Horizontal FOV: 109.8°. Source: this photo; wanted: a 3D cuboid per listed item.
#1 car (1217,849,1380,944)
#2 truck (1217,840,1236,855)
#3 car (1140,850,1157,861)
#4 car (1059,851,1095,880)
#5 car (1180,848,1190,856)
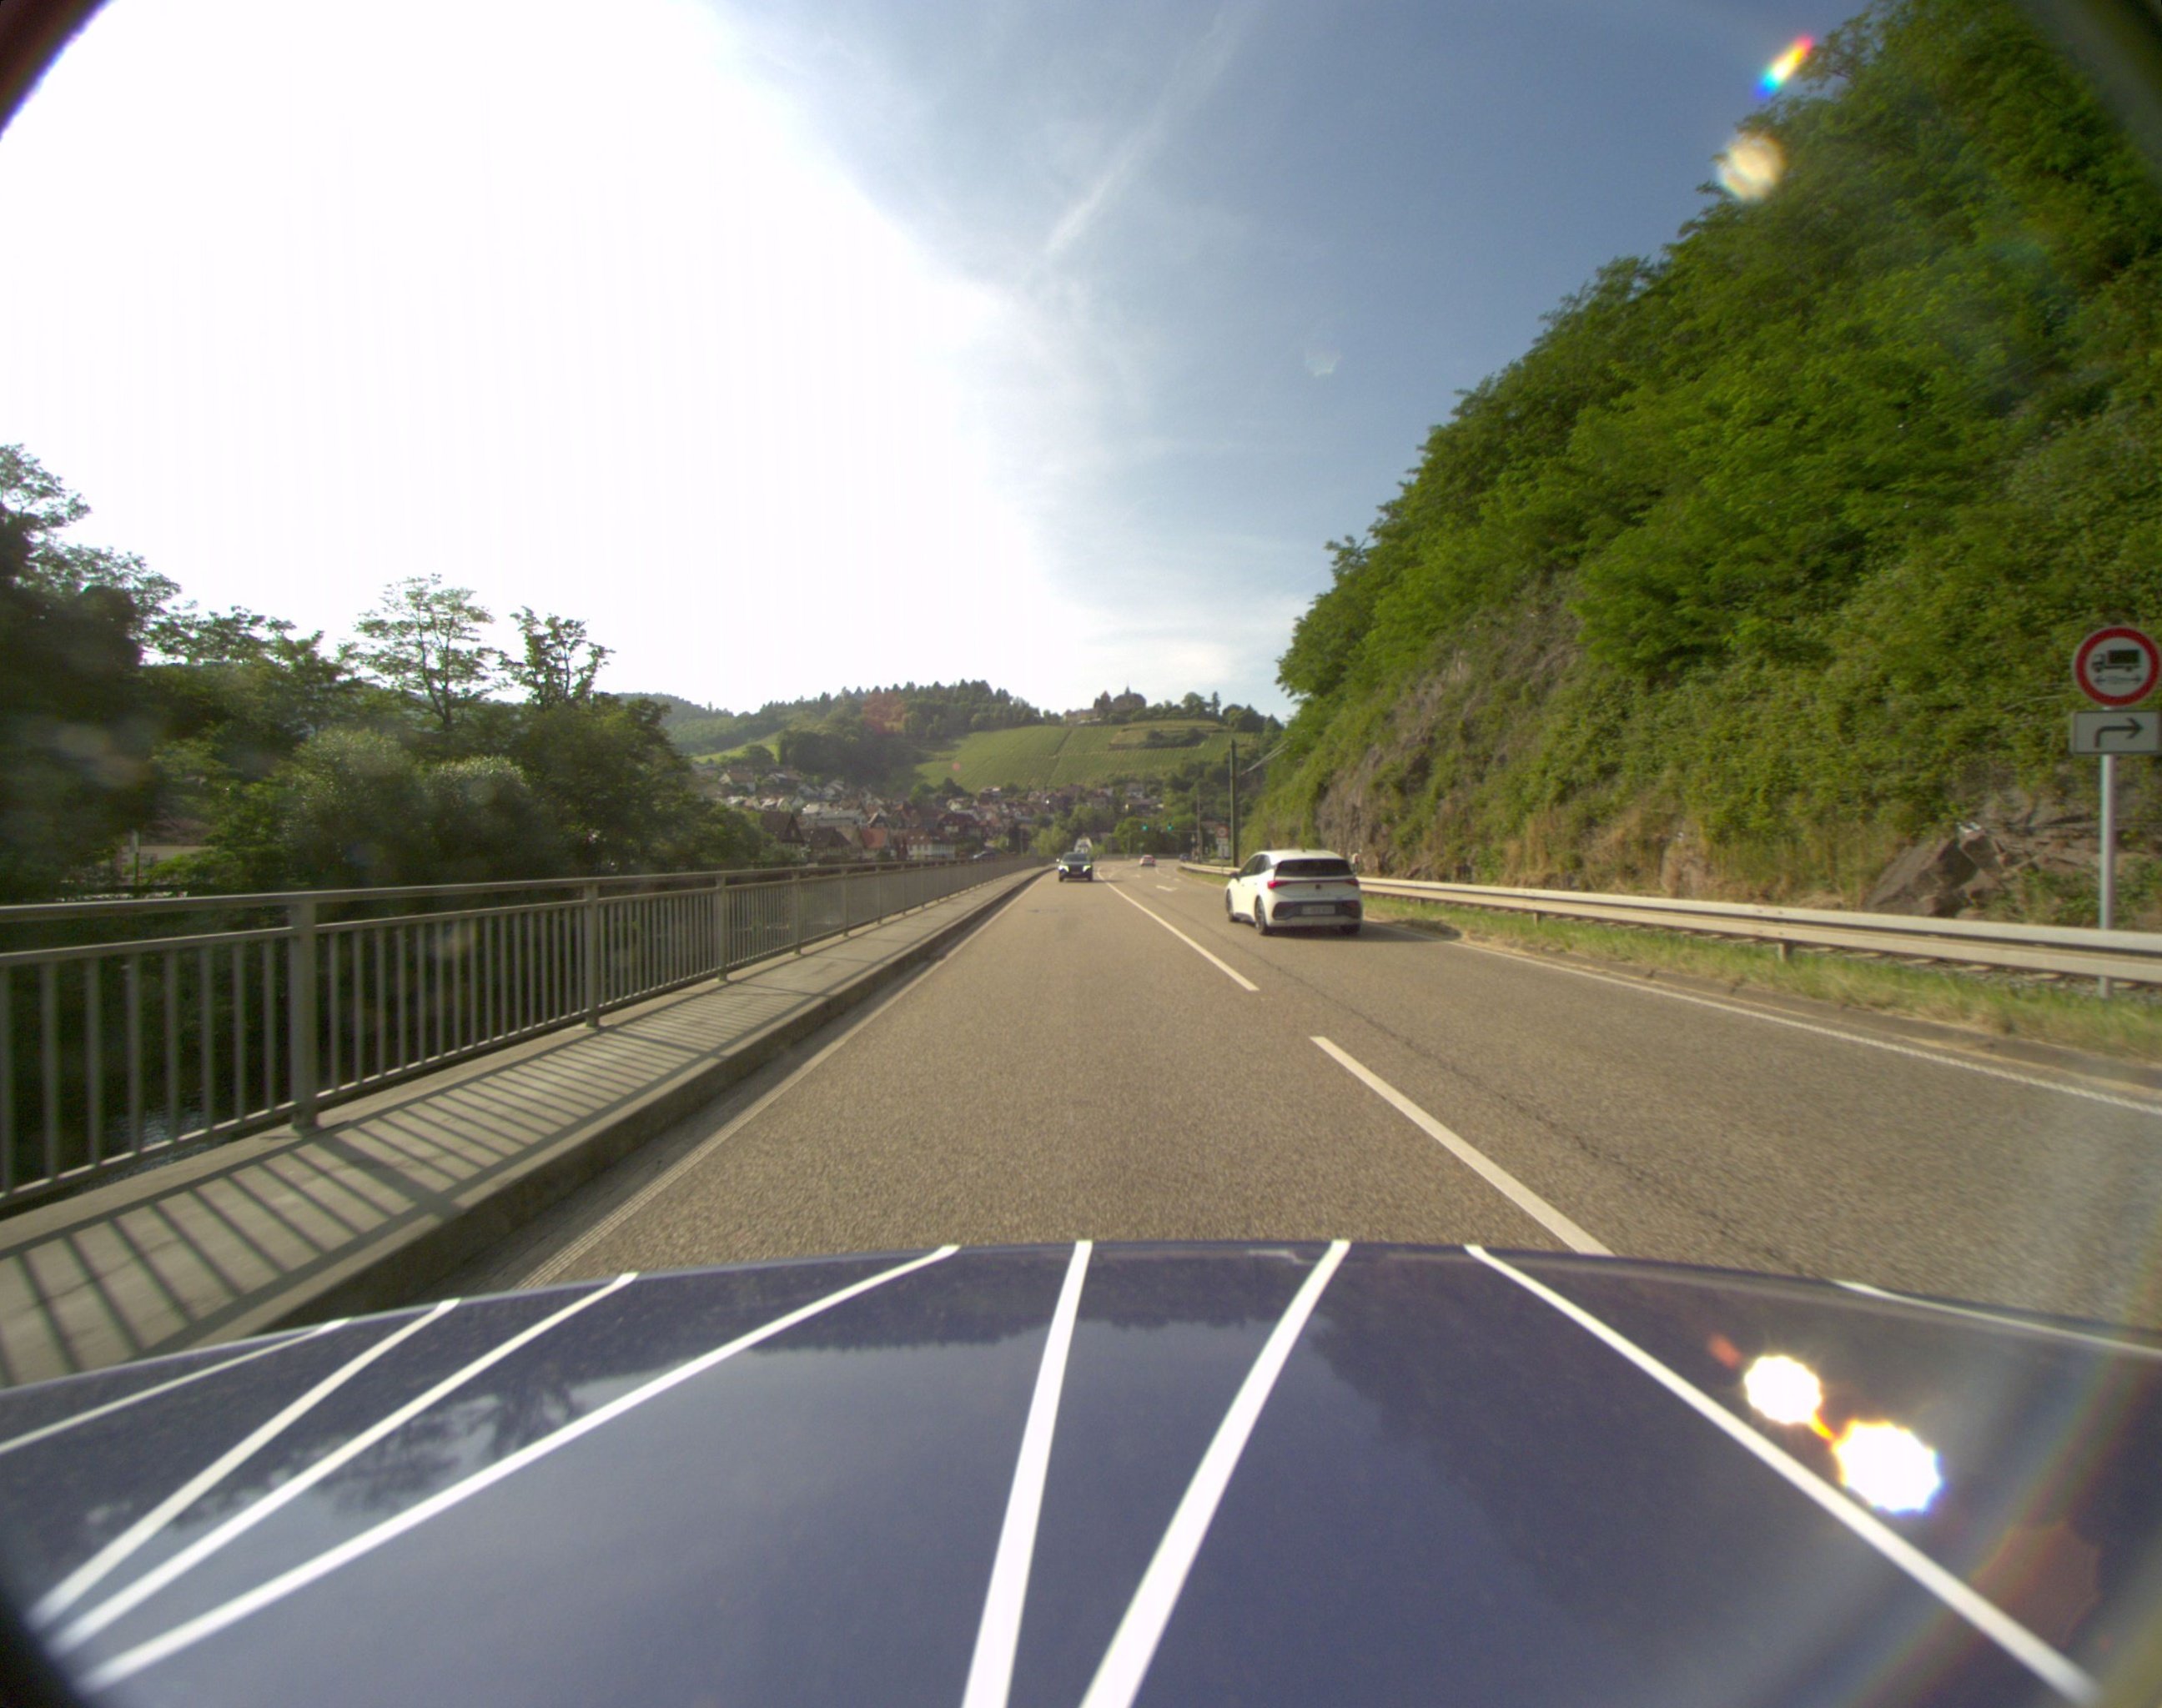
[{"bbox_3d":[4.051,0.709,14.992,1.852,1.535,4.603,-2,0,0],"label":"car"},{"bbox_3d":[37.007,-1.618,193.079,2.899,3.776,8.909,1,0,23],"label":"truck"},{"bbox_3d":[8.957,0.175,101.150,2.068,1.431,4.687,0,0,4],"label":"car"},{"bbox_3d":[-0.283,0.620,42.878,1.864,1.576,3.998,1,0,-3],"label":"car"},{"bbox_3d":[20.968,-0.471,153.761,1.721,1.561,4.138,-2,1,11],"label":"car"}]
